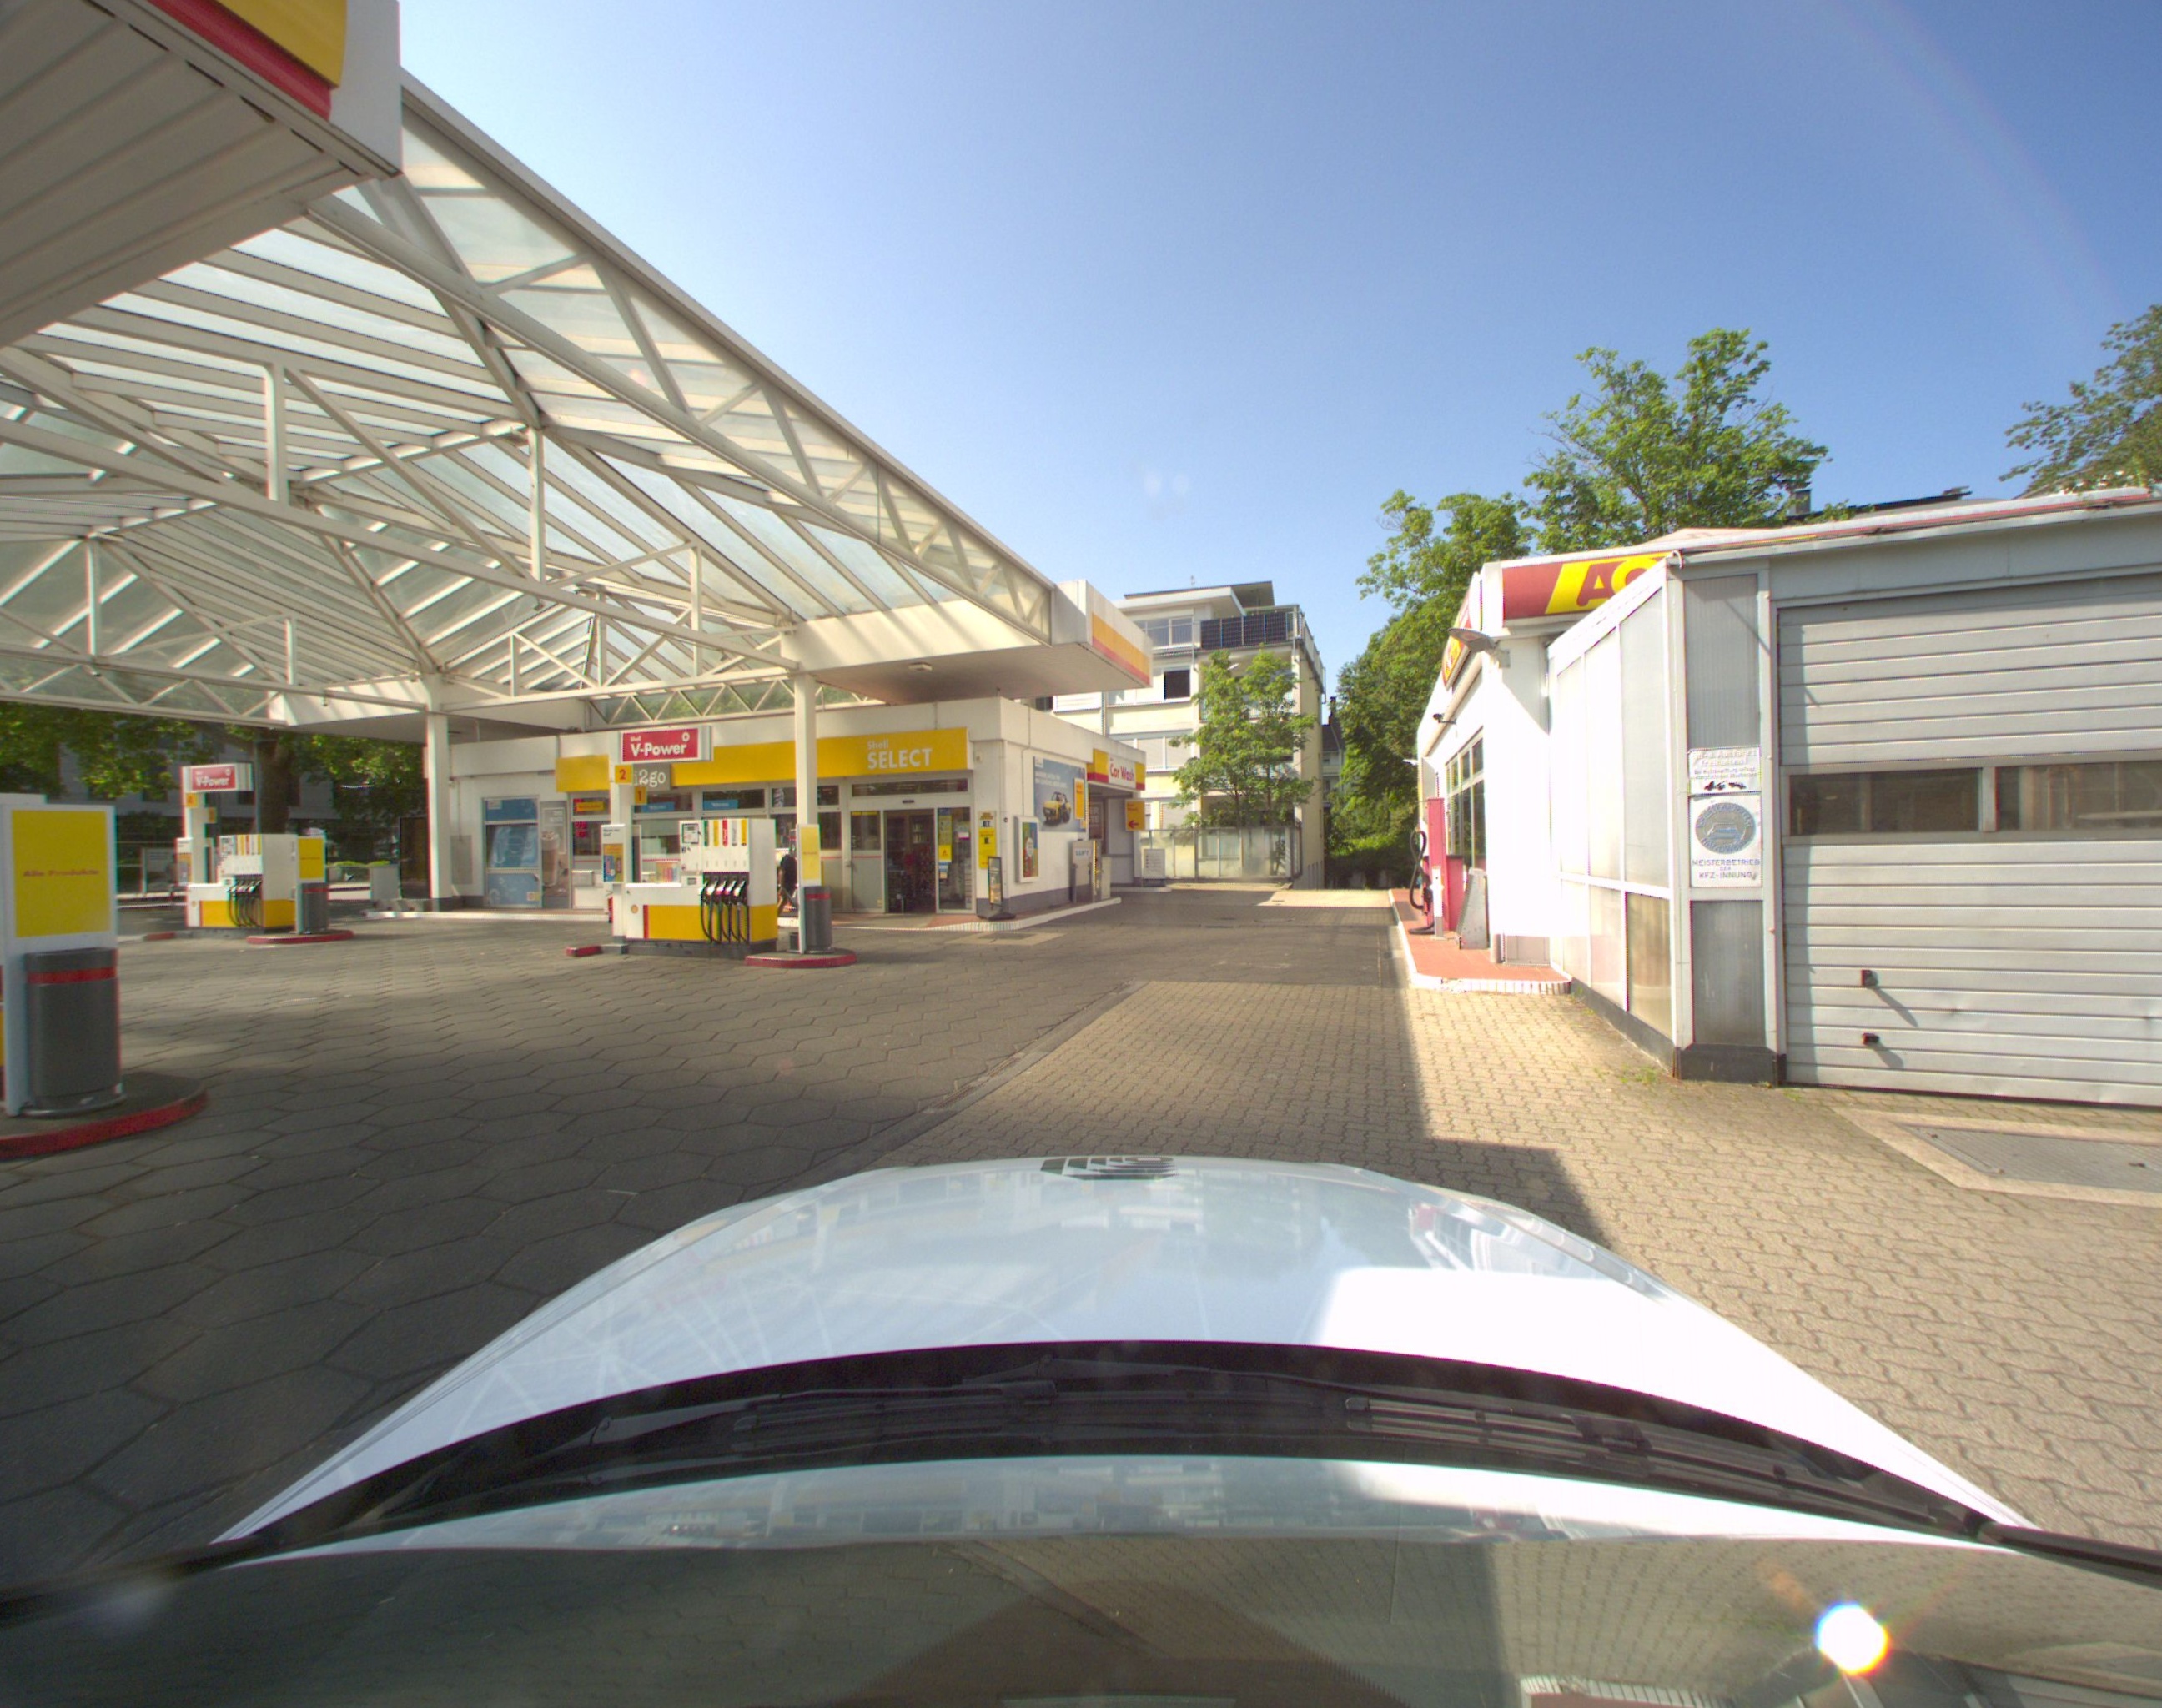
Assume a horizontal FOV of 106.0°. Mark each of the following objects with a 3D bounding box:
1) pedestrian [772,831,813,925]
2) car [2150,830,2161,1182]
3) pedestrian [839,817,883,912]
[{"bbox_3d":[-5.518,0.444,15.586,0.570,1.762,0.530,-1,0,-1],"label":"pedestrian"},{"bbox_3d":[4.997,0.677,1.715,1.672,1.617,3.682,-1,-1,22],"label":"car"},{"bbox_3d":[-4.763,0.213,17.701,0.617,2.013,0.745,-1,0,11],"label":"pedestrian"}]
